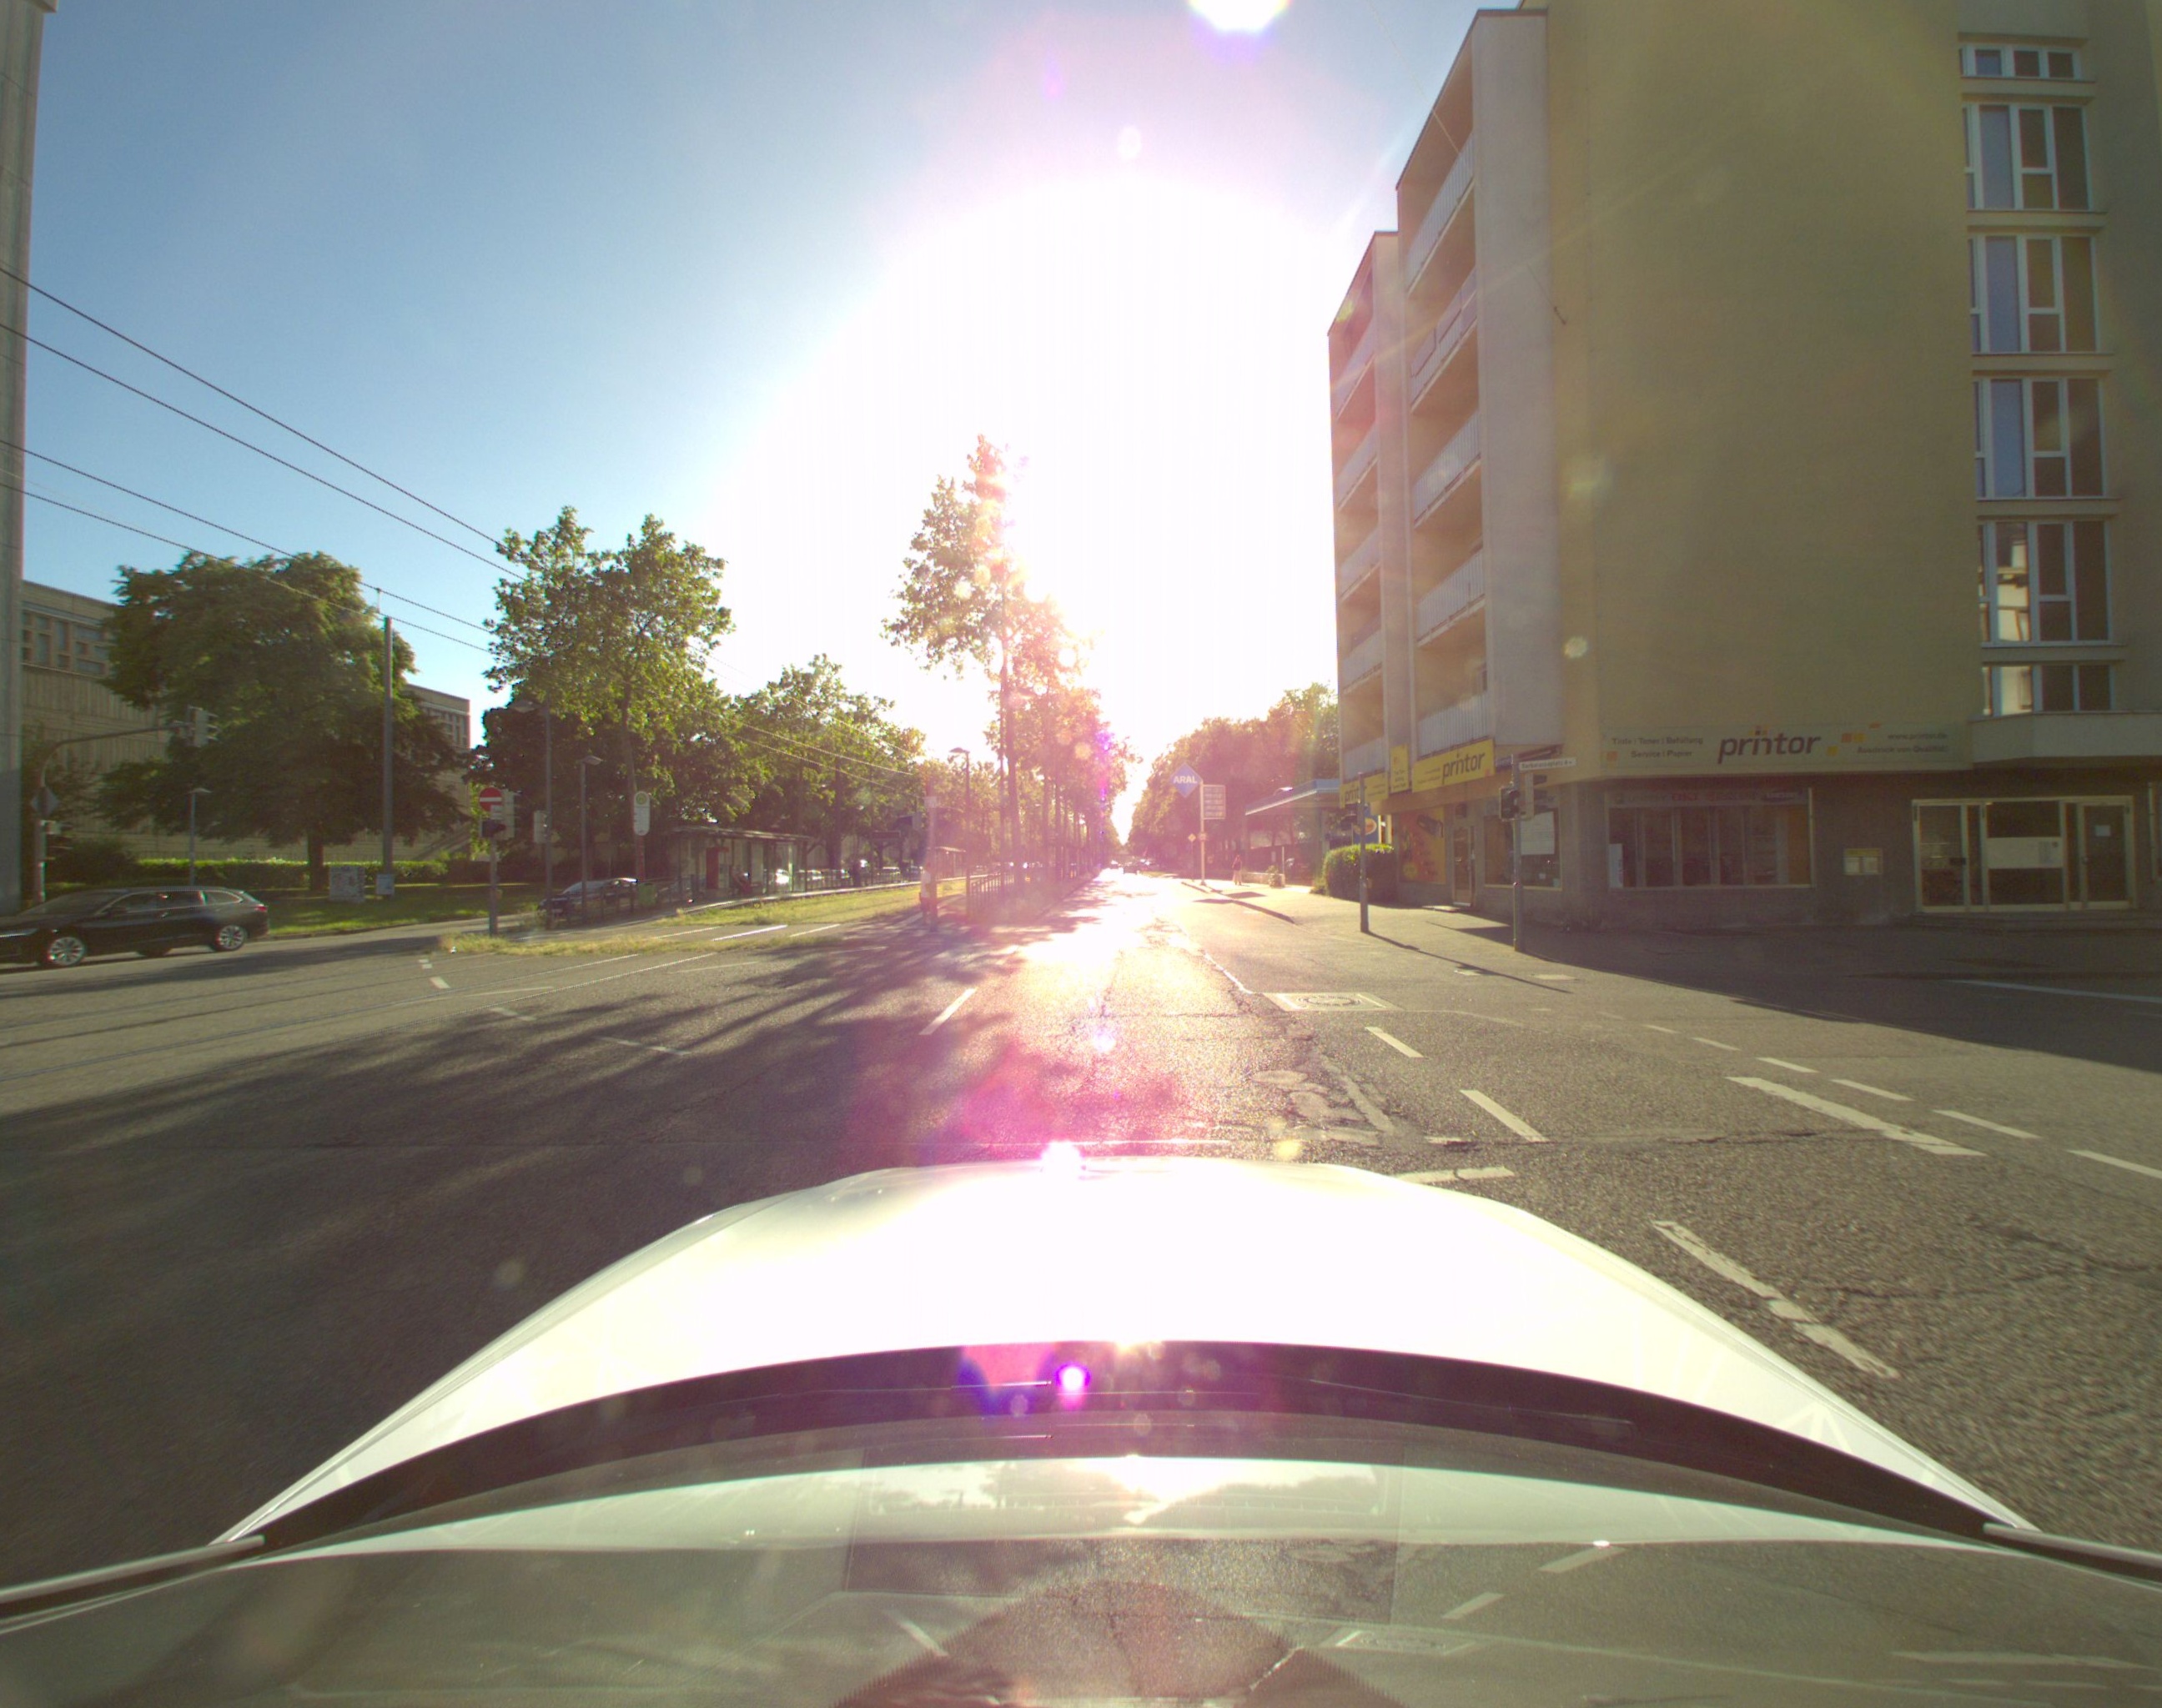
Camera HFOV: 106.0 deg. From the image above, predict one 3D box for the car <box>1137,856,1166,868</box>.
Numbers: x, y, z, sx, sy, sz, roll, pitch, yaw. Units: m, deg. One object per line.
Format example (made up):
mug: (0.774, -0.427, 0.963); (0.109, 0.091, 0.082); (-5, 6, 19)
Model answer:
car: (10.517, 1.199, 121.408); (4.010, 1.469, 1.744); (-4, 0, -29)

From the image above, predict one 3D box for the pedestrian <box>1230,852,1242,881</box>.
pedestrian: (9.005, 0.731, 47.300); (0.601, 1.701, 0.553); (-1, -1, 6)

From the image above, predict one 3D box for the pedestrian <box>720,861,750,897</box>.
pedestrian: (-13.369, 0.964, 31.458); (0.726, 1.341, 0.777); (-1, -1, 16)

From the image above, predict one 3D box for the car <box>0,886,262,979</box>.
car: (-19.548, 1.466, 16.170); (1.943, 1.442, 4.529); (-1, 0, 1)

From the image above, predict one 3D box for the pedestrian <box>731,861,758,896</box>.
pedestrian: (-13.362, 0.970, 32.331); (0.691, 1.341, 0.735); (-1, -1, 4)

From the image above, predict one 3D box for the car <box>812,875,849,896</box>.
car: (-20.220, 2.535, 65.893); (1.588, 1.488, 4.021); (-2, 0, 2)

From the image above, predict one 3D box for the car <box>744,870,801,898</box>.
car: (-17.957, 1.702, 47.550); (1.587, 1.444, 3.933); (-2, 0, 3)

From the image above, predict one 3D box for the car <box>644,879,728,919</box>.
car: (-15.932, 1.785, 33.033); (1.600, 1.427, 3.537); (-1, 0, 0)

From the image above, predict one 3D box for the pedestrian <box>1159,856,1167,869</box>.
pedestrian: (11.037, 1.195, 109.982); (0.715, 1.706, 0.647); (-2, -1, -32)

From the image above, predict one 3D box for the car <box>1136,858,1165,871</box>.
car: (11.282, 1.670, 131.880); (4.693, 1.853, 1.810); (-2, -1, -38)

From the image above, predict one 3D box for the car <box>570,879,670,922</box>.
car: (-14.498, 1.431, 25.762); (1.319, 1.204, 2.968); (-2, -1, 3)

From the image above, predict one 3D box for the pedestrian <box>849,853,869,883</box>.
pedestrian: (-12.454, 0.790, 45.663); (0.879, 1.690, 0.755); (-1, -1, 3)

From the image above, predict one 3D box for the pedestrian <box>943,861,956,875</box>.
pedestrian: (-11.631, 1.211, 72.245); (0.829, 1.261, 0.805); (-1, -1, 31)

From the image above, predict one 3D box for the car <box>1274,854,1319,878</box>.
car: (14.415, 0.786, 54.565); (1.717, 1.463, 4.000); (-1, -1, -4)

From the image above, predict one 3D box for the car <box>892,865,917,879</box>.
car: (-19.822, 2.001, 91.614); (1.706, 1.546, 4.204); (-2, 0, 4)

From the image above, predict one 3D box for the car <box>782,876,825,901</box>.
car: (-20.189, 2.477, 59.360); (1.588, 1.636, 3.932); (-2, 0, 2)

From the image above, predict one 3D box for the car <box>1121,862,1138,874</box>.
car: (5.934, 1.655, 99.526); (1.915, 1.411, 4.002); (0, 0, 2)

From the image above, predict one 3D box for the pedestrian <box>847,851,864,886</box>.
pedestrian: (-12.407, 0.783, 44.759); (0.717, 1.867, 0.637); (-1, -1, 3)

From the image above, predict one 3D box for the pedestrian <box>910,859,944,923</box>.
pedestrian: (-3.813, 0.902, 20.152); (0.663, 1.529, 0.533); (-1, -1, -35)

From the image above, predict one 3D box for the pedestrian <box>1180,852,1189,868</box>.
pedestrian: (12.573, 0.758, 98.845); (0.926, 1.885, 0.797); (-1, 0, -12)

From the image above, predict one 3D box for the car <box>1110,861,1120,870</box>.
car: (6.478, 2.118, 153.674); (1.842, 1.535, 3.869); (-1, 0, 3)
